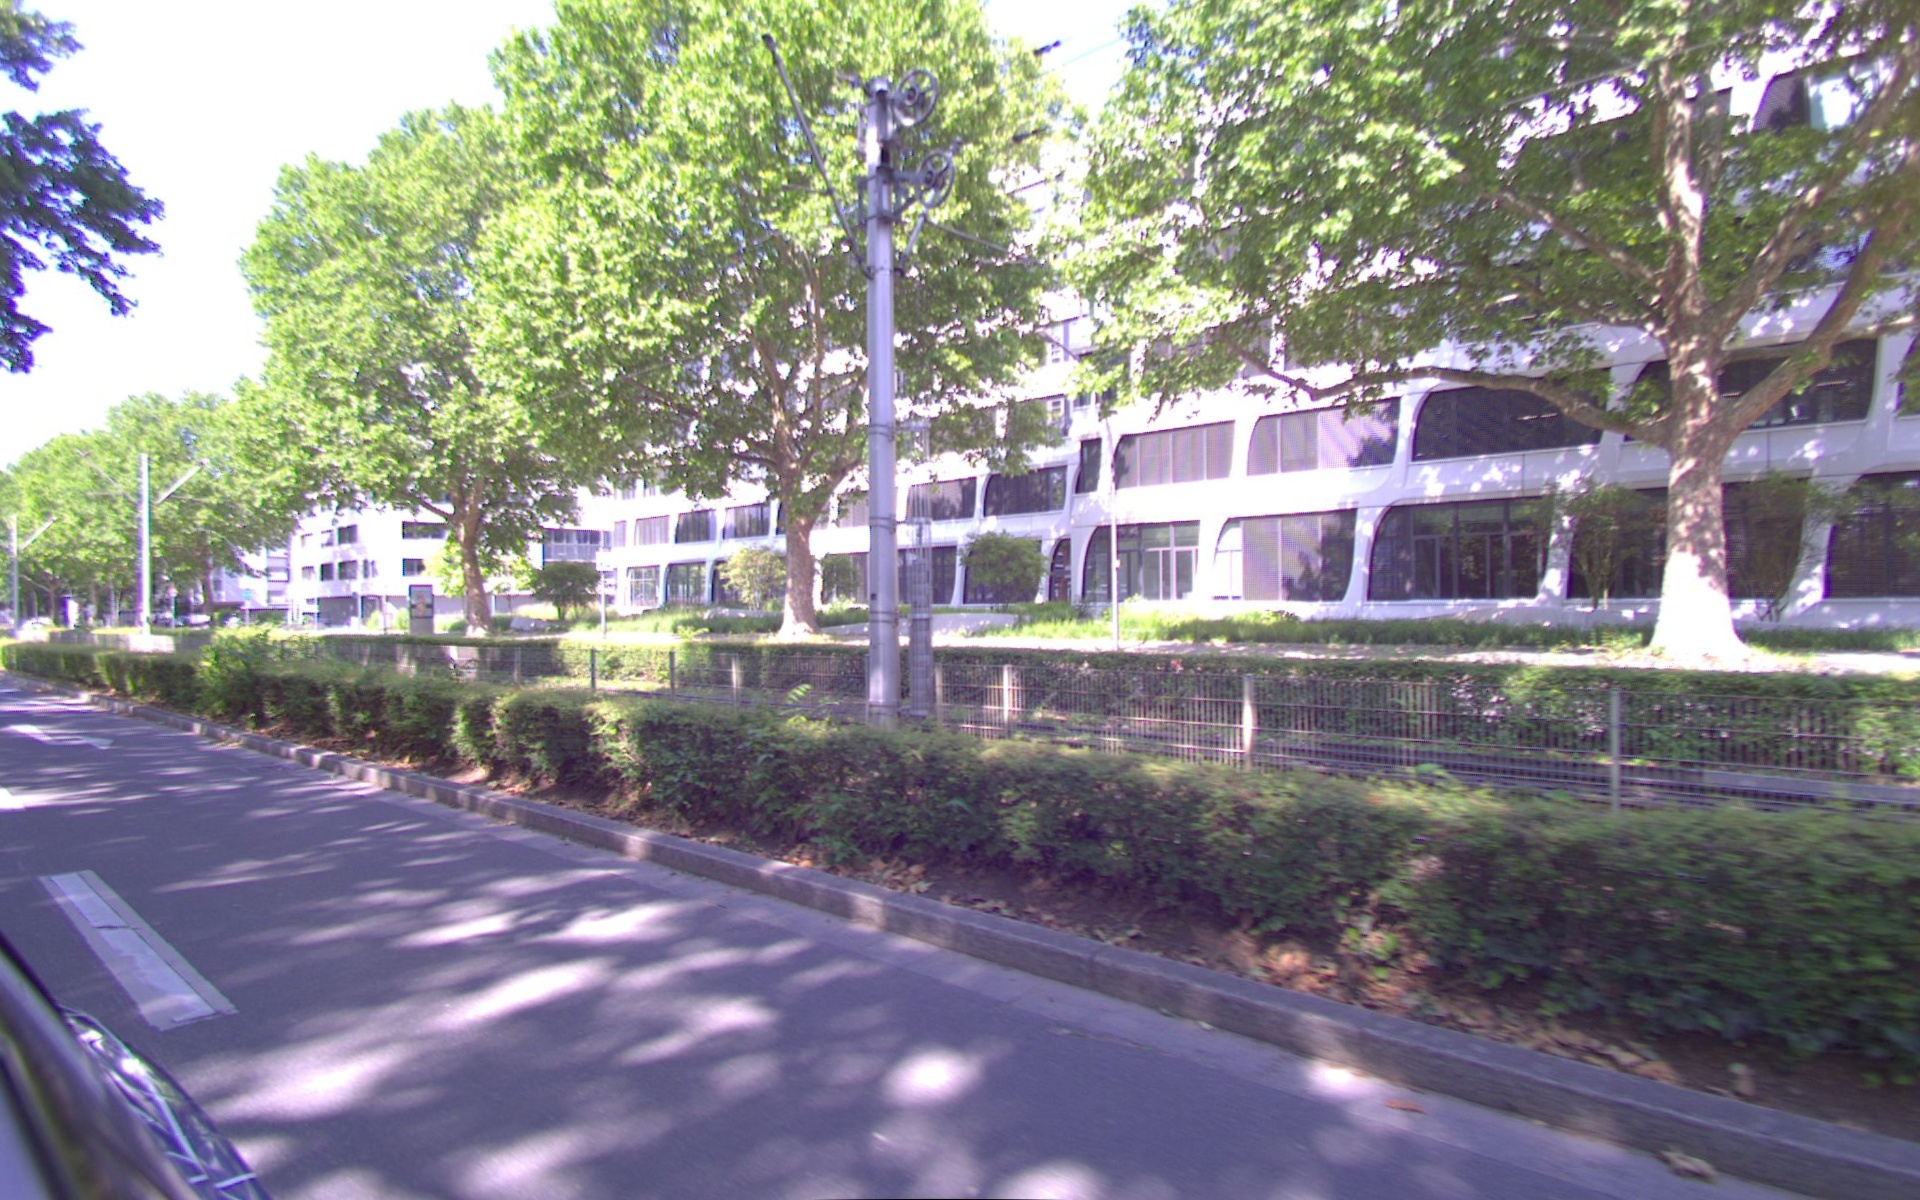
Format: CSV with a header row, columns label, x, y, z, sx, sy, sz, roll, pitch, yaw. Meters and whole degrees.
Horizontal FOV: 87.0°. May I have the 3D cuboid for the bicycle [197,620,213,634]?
label,x,y,z,sx,sy,sz,roll,pitch,yaw
bicycle,-61.450,2.180,82.329,2.030,1.132,0.657,-1,0,42

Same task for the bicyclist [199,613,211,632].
label,x,y,z,sx,sy,sz,roll,pitch,yaw
bicyclist,-61.383,1.809,82.260,0.641,1.546,0.647,-2,0,42

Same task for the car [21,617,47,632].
label,x,y,z,sx,sy,sz,roll,pitch,yaw
car,-104.370,2.777,114.024,4.017,1.581,1.738,-1,0,42

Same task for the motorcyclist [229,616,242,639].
label,x,y,z,sx,sy,sz,roll,pitch,yaw
motorcyclist,-46.112,1.746,64.390,0.533,1.468,0.574,-1,0,42

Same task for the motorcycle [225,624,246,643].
label,x,y,z,sx,sy,sz,roll,pitch,yaw
motorcycle,-46.064,2.123,64.343,1.999,1.183,0.625,-1,0,42
